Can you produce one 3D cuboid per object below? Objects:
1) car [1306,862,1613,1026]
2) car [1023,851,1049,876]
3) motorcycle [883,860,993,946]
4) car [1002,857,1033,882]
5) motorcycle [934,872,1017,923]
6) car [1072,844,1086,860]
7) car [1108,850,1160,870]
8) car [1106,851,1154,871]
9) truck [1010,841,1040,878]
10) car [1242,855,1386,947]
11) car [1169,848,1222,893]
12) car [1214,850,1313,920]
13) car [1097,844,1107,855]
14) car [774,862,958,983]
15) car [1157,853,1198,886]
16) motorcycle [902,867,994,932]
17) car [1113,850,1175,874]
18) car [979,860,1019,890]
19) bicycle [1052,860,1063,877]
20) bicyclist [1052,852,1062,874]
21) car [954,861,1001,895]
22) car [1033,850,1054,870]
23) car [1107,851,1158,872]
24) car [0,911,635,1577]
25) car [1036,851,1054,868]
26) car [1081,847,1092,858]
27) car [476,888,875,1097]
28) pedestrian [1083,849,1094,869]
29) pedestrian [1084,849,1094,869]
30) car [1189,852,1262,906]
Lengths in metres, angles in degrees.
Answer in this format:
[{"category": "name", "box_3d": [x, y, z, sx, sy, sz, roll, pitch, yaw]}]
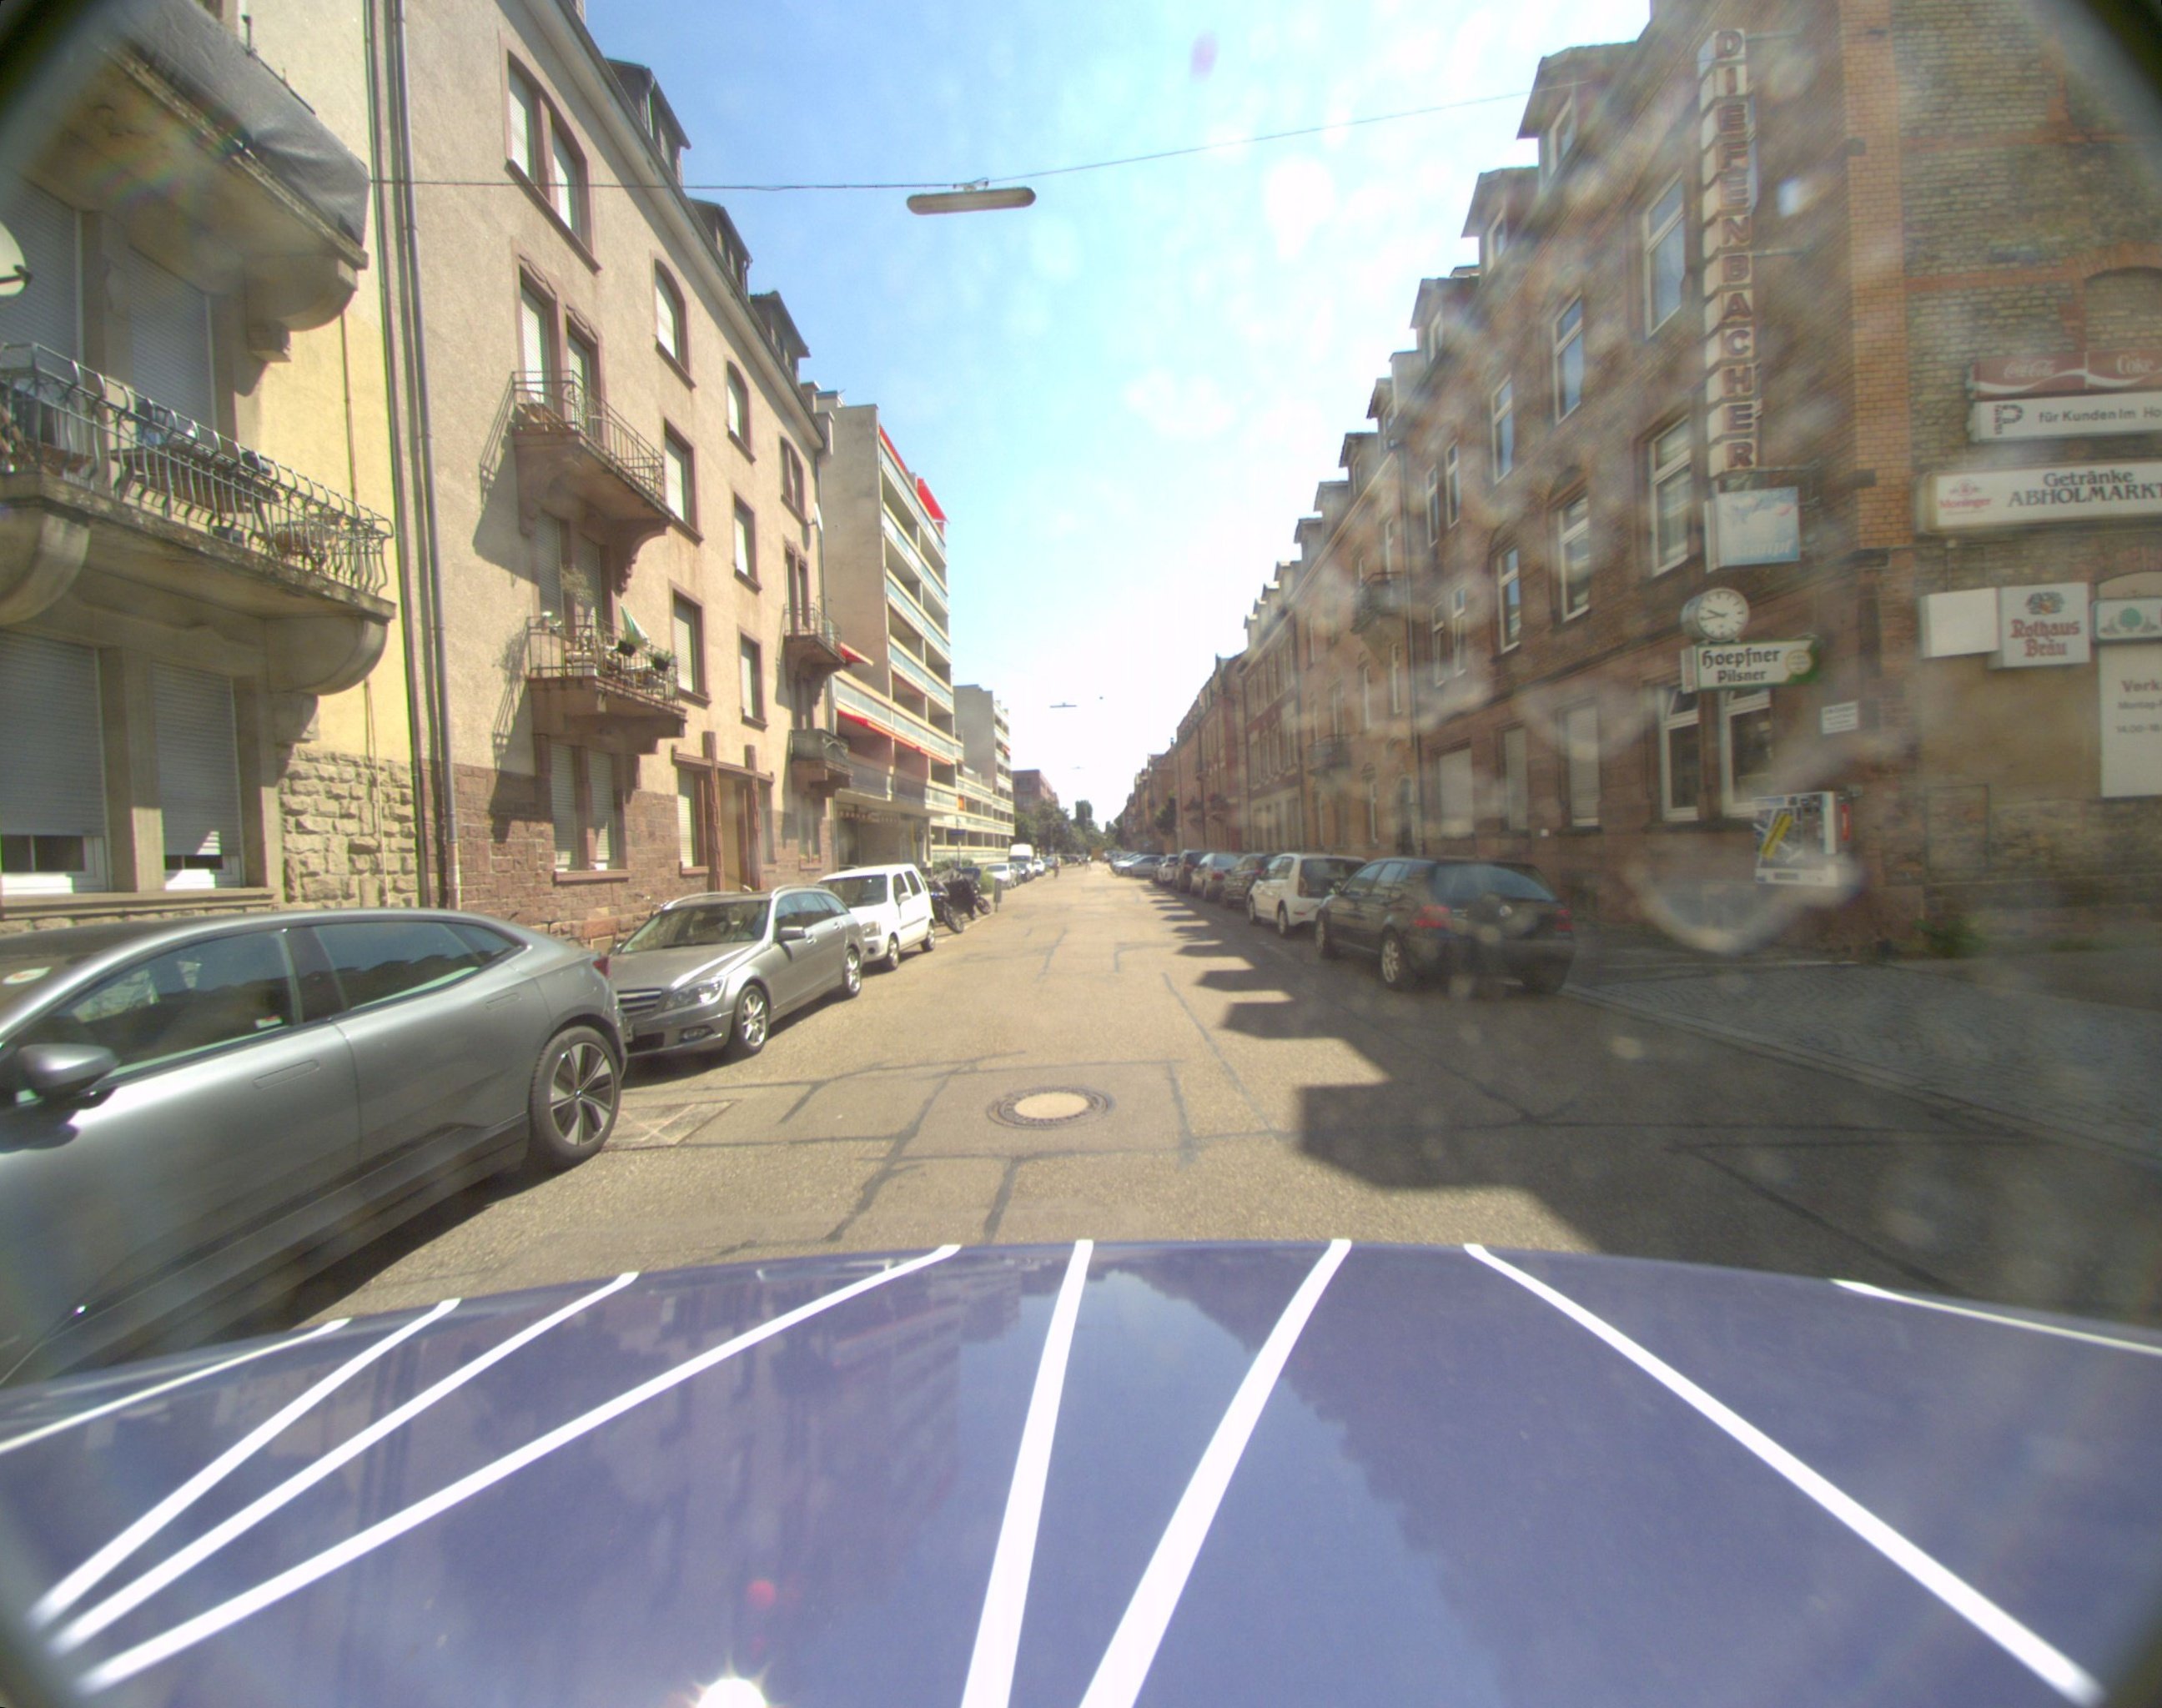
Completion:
[{"category": "car", "box_3d": [4.089, 0.859, 9.002, 1.781, 1.421, 3.836, 1, 1, 2]}, {"category": "car", "box_3d": [-3.874, 0.757, 66.016, 1.902, 2.002, 3.999, -2, 1, 1]}, {"category": "motorcycle", "box_3d": [-3.190, 1.070, 17.113, 2.197, 1.613, 0.764, -7, 2, -40]}, {"category": "car", "box_3d": [-4.403, 1.019, 52.907, 1.717, 1.543, 3.999, -2, 1, 1]}, {"category": "motorcycle", "box_3d": [-3.124, 1.273, 22.613, 2.329, 1.194, 0.675, -7, 1, -40]}, {"category": "car", "box_3d": [-0.245, -0.272, 101.068, 1.826, 2.002, 3.867, -2, 1, 1]}, {"category": "car", "box_3d": [4.096, 0.452, 59.175, 3.996, 1.422, 1.678, -2, 1, 2]}, {"category": "car", "box_3d": [4.096, 0.548, 64.010, 3.996, 1.491, 1.652, -2, 1, 1]}, {"category": "truck", "box_3d": [-4.360, 0.417, 59.415, 1.869, 2.715, 4.507, -2, 1, 1]}, {"category": "car", "box_3d": [4.154, 0.763, 14.125, 1.632, 1.421, 3.678, 1, 1, 2]}, {"category": "car", "box_3d": [4.385, 0.594, 29.536, 1.450, 1.633, 3.525, 1, 1, 0]}, {"category": "car", "box_3d": [4.450, 0.693, 18.991, 1.450, 1.534, 3.524, 1, 1, -2]}, {"category": "car", "box_3d": [4.121, -0.937, 148.803, 1.785, 2.002, 4.000, -3, 1, 3]}, {"category": "car", "box_3d": [-3.458, 1.024, 13.063, 1.651, 1.613, 4.092, -2, 1, 5]}, {"category": "car", "box_3d": [4.343, 0.672, 34.474, 1.450, 1.391, 3.525, 1, 1, 1]}, {"category": "motorcycle", "box_3d": [-3.494, 1.175, 20.135, 2.197, 1.422, 0.733, -7, 2, -40]}, {"category": "car", "box_3d": [4.205, 0.537, 51.201, 3.996, 1.422, 1.678, -2, 1, 2]}, {"category": "car", "box_3d": [-4.586, 1.148, 43.055, 1.754, 1.484, 3.902, -2, 1, 1]}, {"category": "bicycle", "box_3d": [-1.725, 1.063, 56.178, 0.671, 1.169, 2.094, -2, 1, 1]}, {"category": "bicyclist", "box_3d": [-1.746, 0.655, 56.199, 0.645, 1.640, 0.622, -2, 1, 1]}, {"category": "car", "box_3d": [-5.154, 1.177, 38.349, 1.754, 1.484, 3.902, -2, 1, 1]}, {"category": "car", "box_3d": [-3.980, 0.584, 81.862, 1.902, 2.002, 3.999, -2, 1, 1]}, {"category": "car", "box_3d": [4.155, 0.622, 61.504, 3.996, 1.491, 1.652, -2, 1, 1]}, {"category": "car", "box_3d": [-3.623, 1.116, 2.382, 1.828, 1.423, 4.488, -3, 0, -2]}, {"category": "car", "box_3d": [-4.163, 0.586, 89.352, 1.792, 1.844, 3.999, -2, 1, 1]}, {"category": "car", "box_3d": [0.847, -0.241, 114.984, 1.625, 1.601, 3.597, -2, 1, 0]}, {"category": "car", "box_3d": [-3.711, 1.168, 8.027, 1.791, 1.350, 4.352, -2, 0, 1]}, {"category": "pedestrian", "box_3d": [0.700, 0.477, 72.957, 0.883, 1.823, 0.874, -3, 1, 2]}, {"category": "pedestrian", "box_3d": [0.753, 0.468, 73.559, 0.883, 1.823, 0.874, -3, 1, 2]}, {"category": "car", "box_3d": [4.361, 0.702, 23.339, 1.450, 1.464, 3.525, 1, 1, -1]}]
